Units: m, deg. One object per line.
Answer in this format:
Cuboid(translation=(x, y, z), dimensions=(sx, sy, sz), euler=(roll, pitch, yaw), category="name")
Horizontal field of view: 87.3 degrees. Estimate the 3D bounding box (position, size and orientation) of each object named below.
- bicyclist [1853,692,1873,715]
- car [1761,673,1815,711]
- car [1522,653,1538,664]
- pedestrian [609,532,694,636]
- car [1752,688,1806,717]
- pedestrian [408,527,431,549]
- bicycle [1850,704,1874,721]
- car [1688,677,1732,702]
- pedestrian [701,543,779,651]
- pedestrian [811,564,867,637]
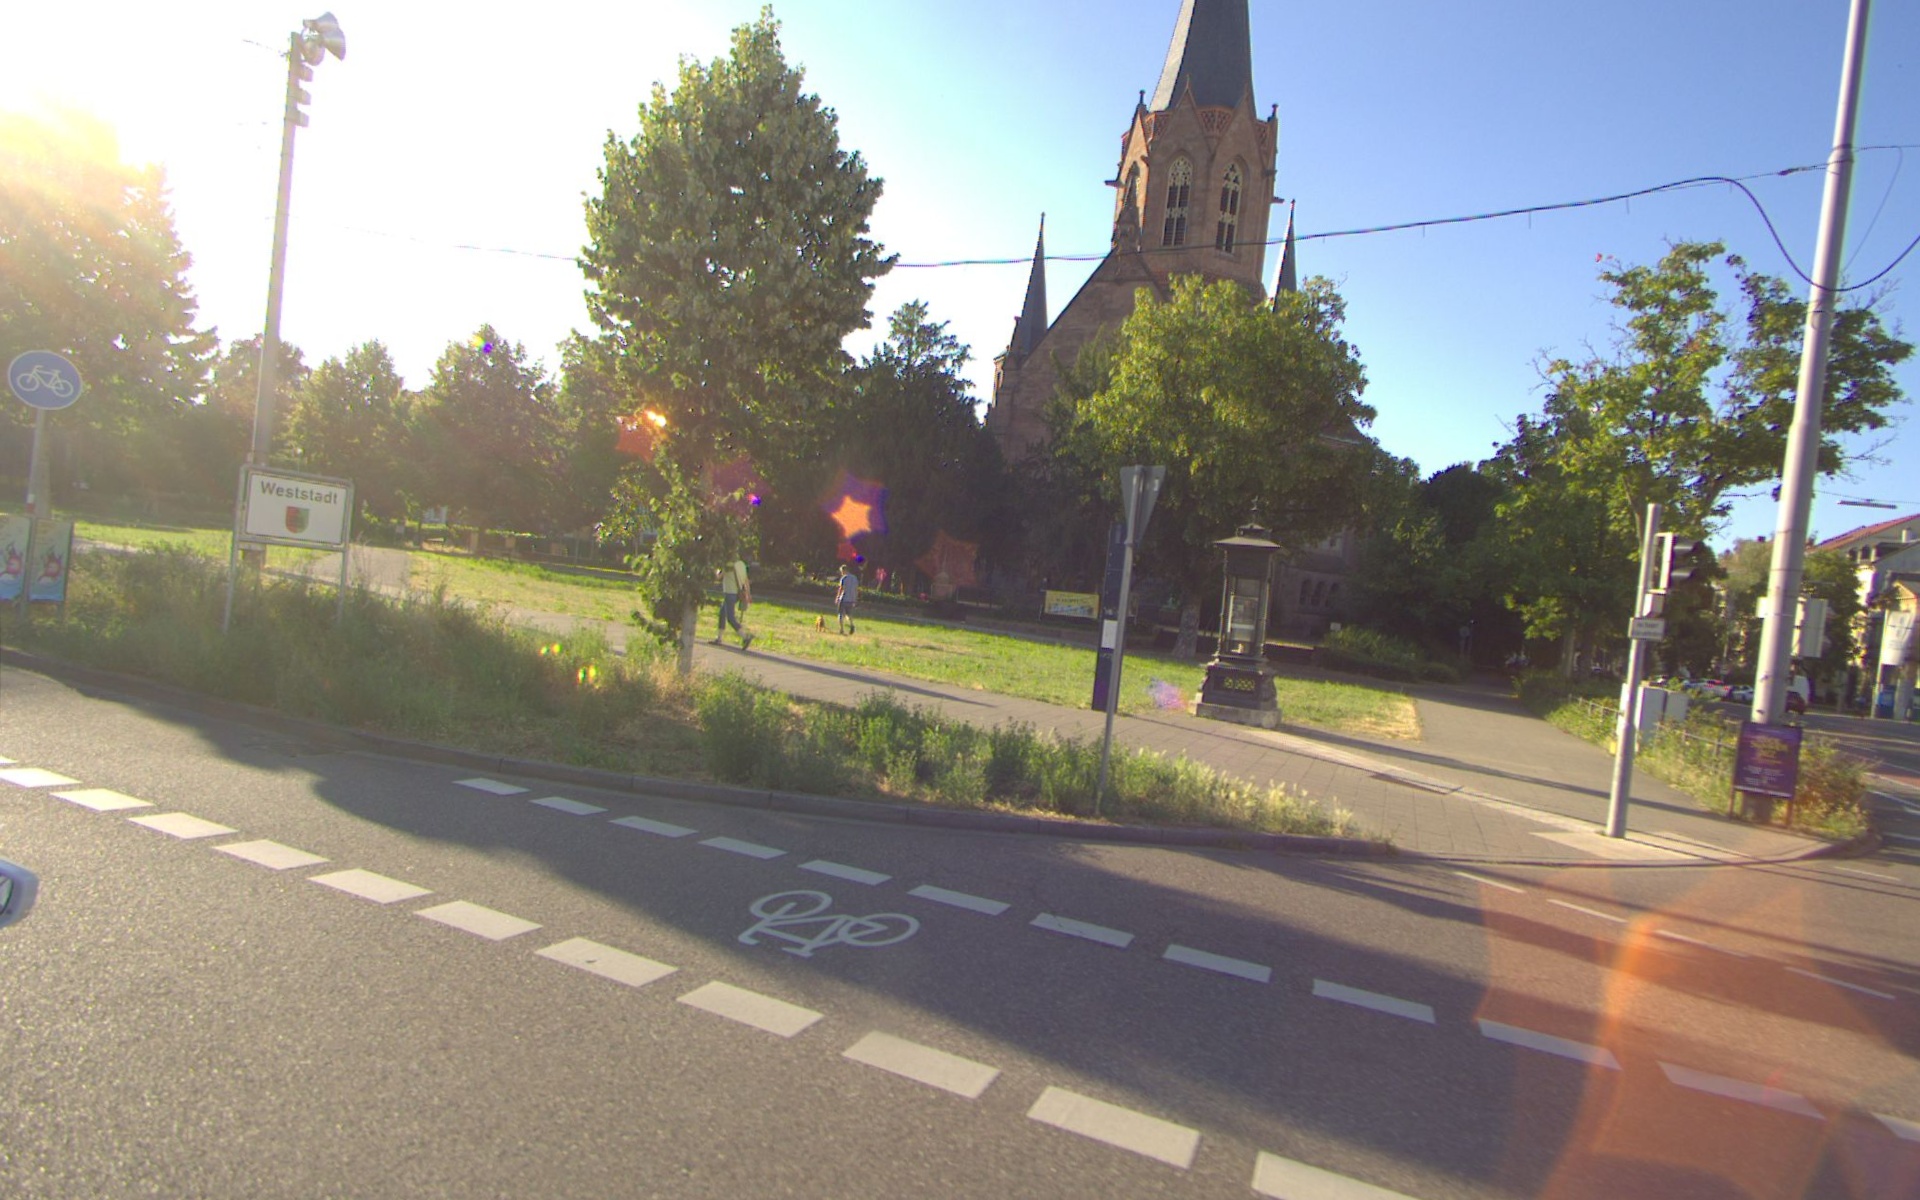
Cuboid(translation=(61.967, 7.099, 69.019), dimensions=(0.583, 1.387, 0.928), euler=(9, 3, 25), category="bicyclist")
Cuboid(translation=(63.878, 7.034, 77.670), dimensions=(1.964, 2.472, 3.995), euler=(8, 1, 25), category="car")
Cuboid(translation=(100.792, 10.307, 177.972), dimensions=(1.859, 1.692, 3.995), euler=(8, 1, 25), category="car")
Cuboid(translation=(-5.529, -0.282, 18.054), dimensions=(0.999, 1.718, 0.843), euler=(8, 2, 29), category="pedestrian")
Cuboid(translation=(54.798, 6.814, 67.387), dimensions=(1.645, 1.481, 3.995), euler=(8, 1, 25), category="car")
Cuboid(translation=(-32.651, -3.743, 60.784), dimensions=(0.830, 1.202, 0.812), euler=(7, 1, 24), category="pedestrian")
Cuboid(translation=(61.868, 7.711, 69.010), dimensions=(0.583, 0.955, 1.975), euler=(9, 2, 25), category="bicycle")
Cuboid(translation=(62.627, 7.454, 84.049), dimensions=(1.888, 1.628, 4.264), euler=(8, 1, 25), category="car")
Cuboid(translation=(-3.757, -0.047, 17.205), dimensions=(0.879, 1.718, 0.709), euler=(8, 2, 24), category="pedestrian")
Cuboid(translation=(-3.147, 0.009, 26.190), dimensions=(0.838, 1.718, 1.005), euler=(6, 3, -41), category="pedestrian")
